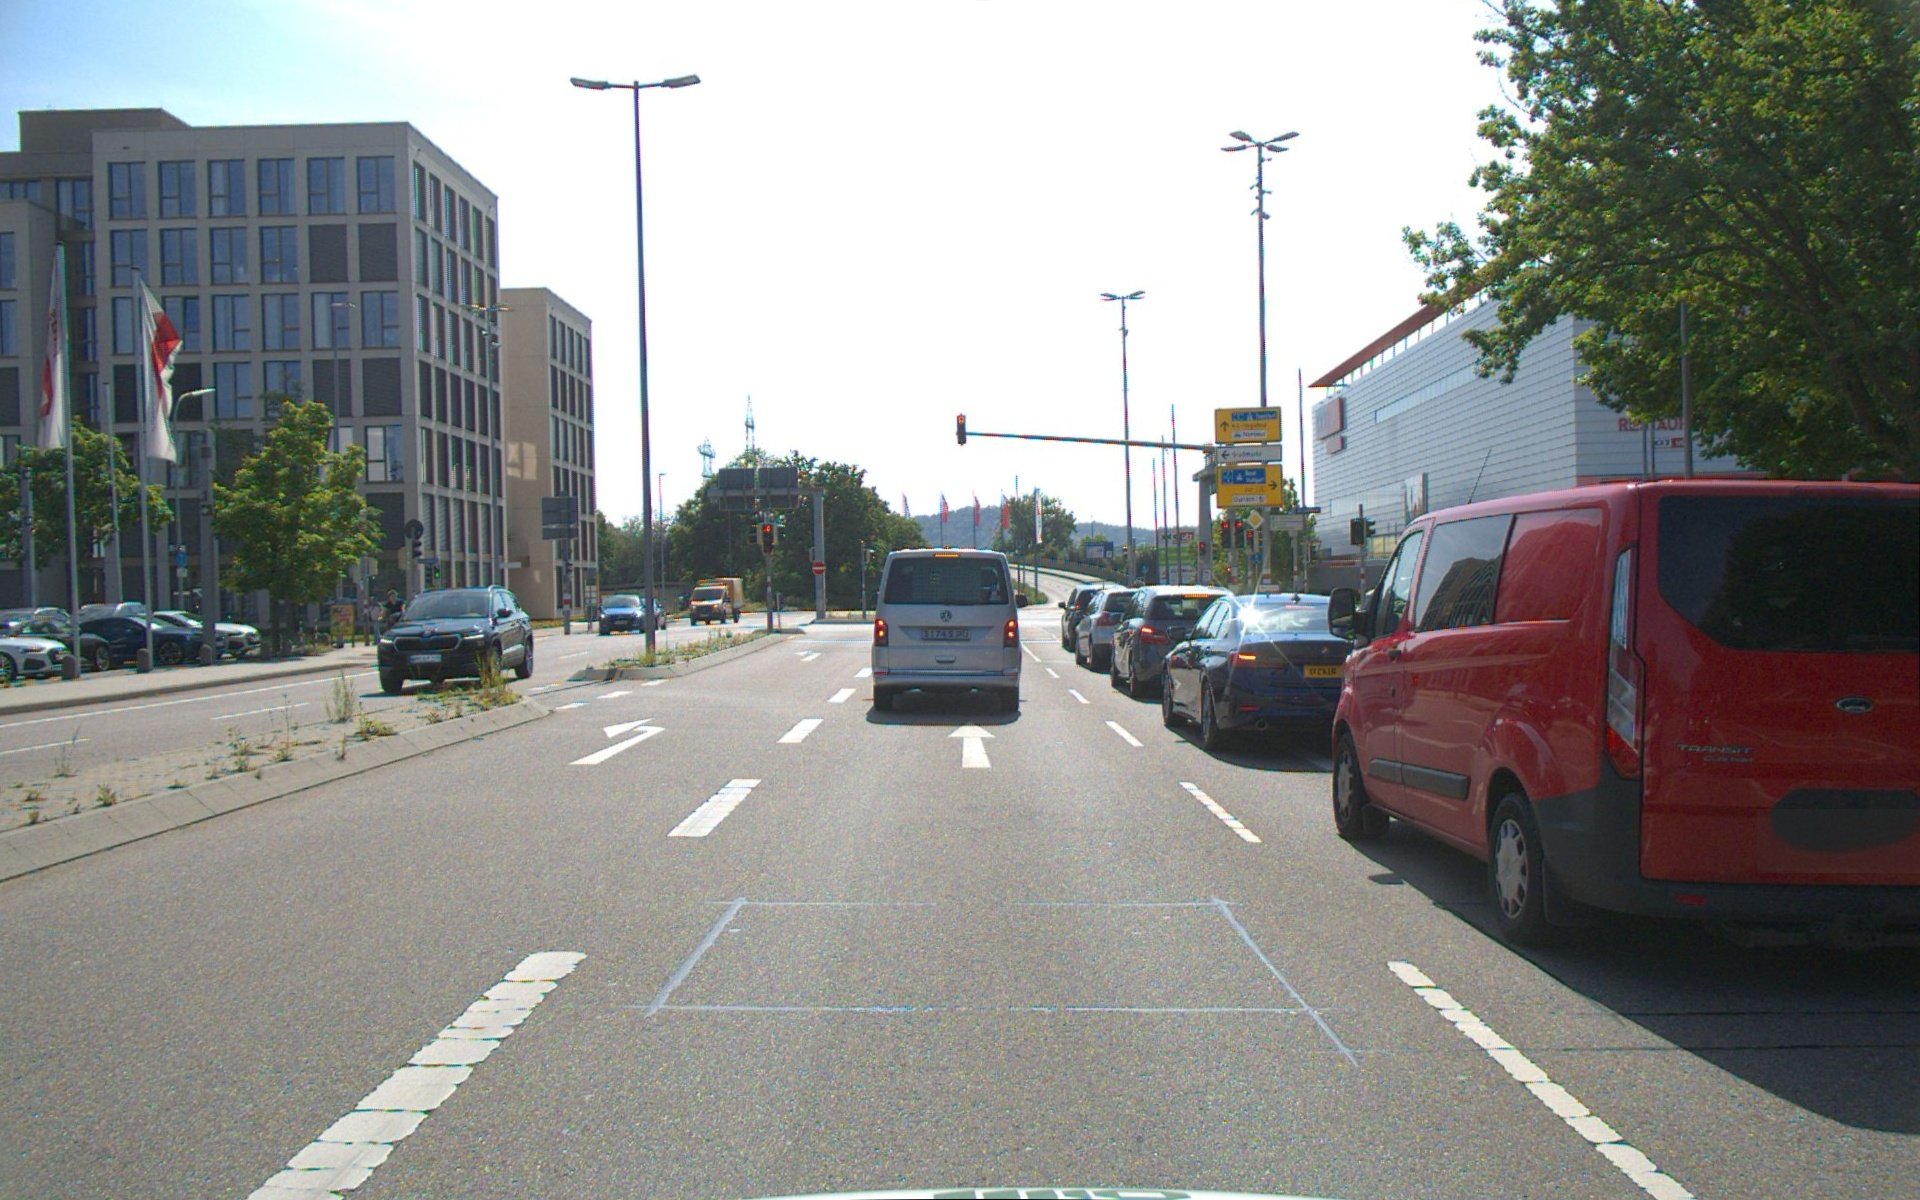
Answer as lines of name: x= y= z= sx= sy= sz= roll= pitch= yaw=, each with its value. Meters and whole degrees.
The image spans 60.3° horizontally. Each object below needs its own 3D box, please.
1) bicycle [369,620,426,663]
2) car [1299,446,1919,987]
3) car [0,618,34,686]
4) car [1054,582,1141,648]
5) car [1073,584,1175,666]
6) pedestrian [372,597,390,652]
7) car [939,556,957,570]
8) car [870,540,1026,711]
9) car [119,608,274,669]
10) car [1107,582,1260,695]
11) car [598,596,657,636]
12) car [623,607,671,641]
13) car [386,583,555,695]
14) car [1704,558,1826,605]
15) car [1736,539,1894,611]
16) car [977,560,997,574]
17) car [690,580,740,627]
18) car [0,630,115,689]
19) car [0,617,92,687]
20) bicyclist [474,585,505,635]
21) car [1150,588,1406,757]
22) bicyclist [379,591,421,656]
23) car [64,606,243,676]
bicycle: x=-13.870 y=1.008 z=40.833 sx=0.666 sy=0.957 sz=1.973 roll=-2 pitch=0 yaw=1
car: x=3.291 y=0.408 z=8.710 sx=1.927 sy=2.002 sz=5.125 roll=0 pitch=0 yaw=-1
car: x=-21.630 y=1.246 z=34.239 sx=3.794 sy=1.356 sz=1.849 roll=-5 pitch=1 yaw=3
car: x=3.338 y=0.338 z=40.823 sx=1.798 sy=1.552 sz=4.000 roll=0 pitch=0 yaw=0
car: x=3.103 y=0.439 z=31.830 sx=1.546 sy=1.483 sz=3.785 roll=0 pitch=0 yaw=-1
pedestrian: x=-21.721 y=0.928 z=62.037 sx=0.548 sy=2.049 sz=0.575 roll=0 pitch=0 yaw=-9
car: x=-1.903 y=-5.748 z=258.653 sx=1.961 sy=2.049 sz=3.984 roll=0 pitch=0 yaw=-15
car: x=-0.154 y=0.287 z=21.603 sx=1.846 sy=2.025 sz=4.000 roll=0 pitch=0 yaw=0
car: x=-21.683 y=1.085 z=47.048 sx=3.521 sy=1.381 sz=1.640 roll=-5 pitch=1 yaw=0
car: x=3.251 y=0.513 z=24.781 sx=1.711 sy=1.543 sz=4.077 roll=0 pitch=0 yaw=-1
car: x=-12.904 y=0.599 z=64.377 sx=1.648 sy=1.381 sz=3.839 roll=-2 pitch=2 yaw=-3
car: x=-14.555 y=1.088 z=77.087 sx=1.545 sy=1.434 sz=4.377 roll=-2 pitch=0 yaw=-3
car: x=-8.291 y=0.610 z=28.399 sx=1.704 sy=1.646 sz=4.207 roll=-4 pitch=0 yaw=-3
car: x=31.971 y=-0.719 z=65.758 sx=4.046 sy=1.545 sz=1.482 roll=-4 pitch=0 yaw=4
car: x=28.153 y=-0.814 z=54.553 sx=4.311 sy=2.029 sz=1.481 roll=-4 pitch=0 yaw=2
car: x=3.925 y=-4.823 z=243.275 sx=1.961 sy=2.049 sz=3.984 roll=0 pitch=0 yaw=-15
car: x=-14.410 y=0.170 z=97.725 sx=2.358 sy=2.605 sz=6.889 roll=-2 pitch=0 yaw=-5
car: x=-22.665 y=1.481 z=40.750 sx=1.819 sy=1.194 sz=3.430 roll=-5 pitch=1 yaw=0
car: x=-21.749 y=1.252 z=36.848 sx=3.794 sy=1.388 sz=1.750 roll=-5 pitch=1 yaw=3
bicyclist: x=-14.718 y=0.300 z=51.766 sx=0.617 sy=1.527 sz=1.028 roll=-2 pitch=0 yaw=-1
car: x=3.057 y=0.622 z=16.804 sx=1.711 sy=1.484 sz=4.475 roll=0 pitch=0 yaw=-1
bicyclist: x=-13.858 y=0.573 z=40.940 sx=0.606 sy=1.553 sz=1.036 roll=-2 pitch=0 yaw=1
car: x=-21.681 y=1.083 z=44.583 sx=3.795 sy=1.490 sz=1.868 roll=-5 pitch=1 yaw=1
